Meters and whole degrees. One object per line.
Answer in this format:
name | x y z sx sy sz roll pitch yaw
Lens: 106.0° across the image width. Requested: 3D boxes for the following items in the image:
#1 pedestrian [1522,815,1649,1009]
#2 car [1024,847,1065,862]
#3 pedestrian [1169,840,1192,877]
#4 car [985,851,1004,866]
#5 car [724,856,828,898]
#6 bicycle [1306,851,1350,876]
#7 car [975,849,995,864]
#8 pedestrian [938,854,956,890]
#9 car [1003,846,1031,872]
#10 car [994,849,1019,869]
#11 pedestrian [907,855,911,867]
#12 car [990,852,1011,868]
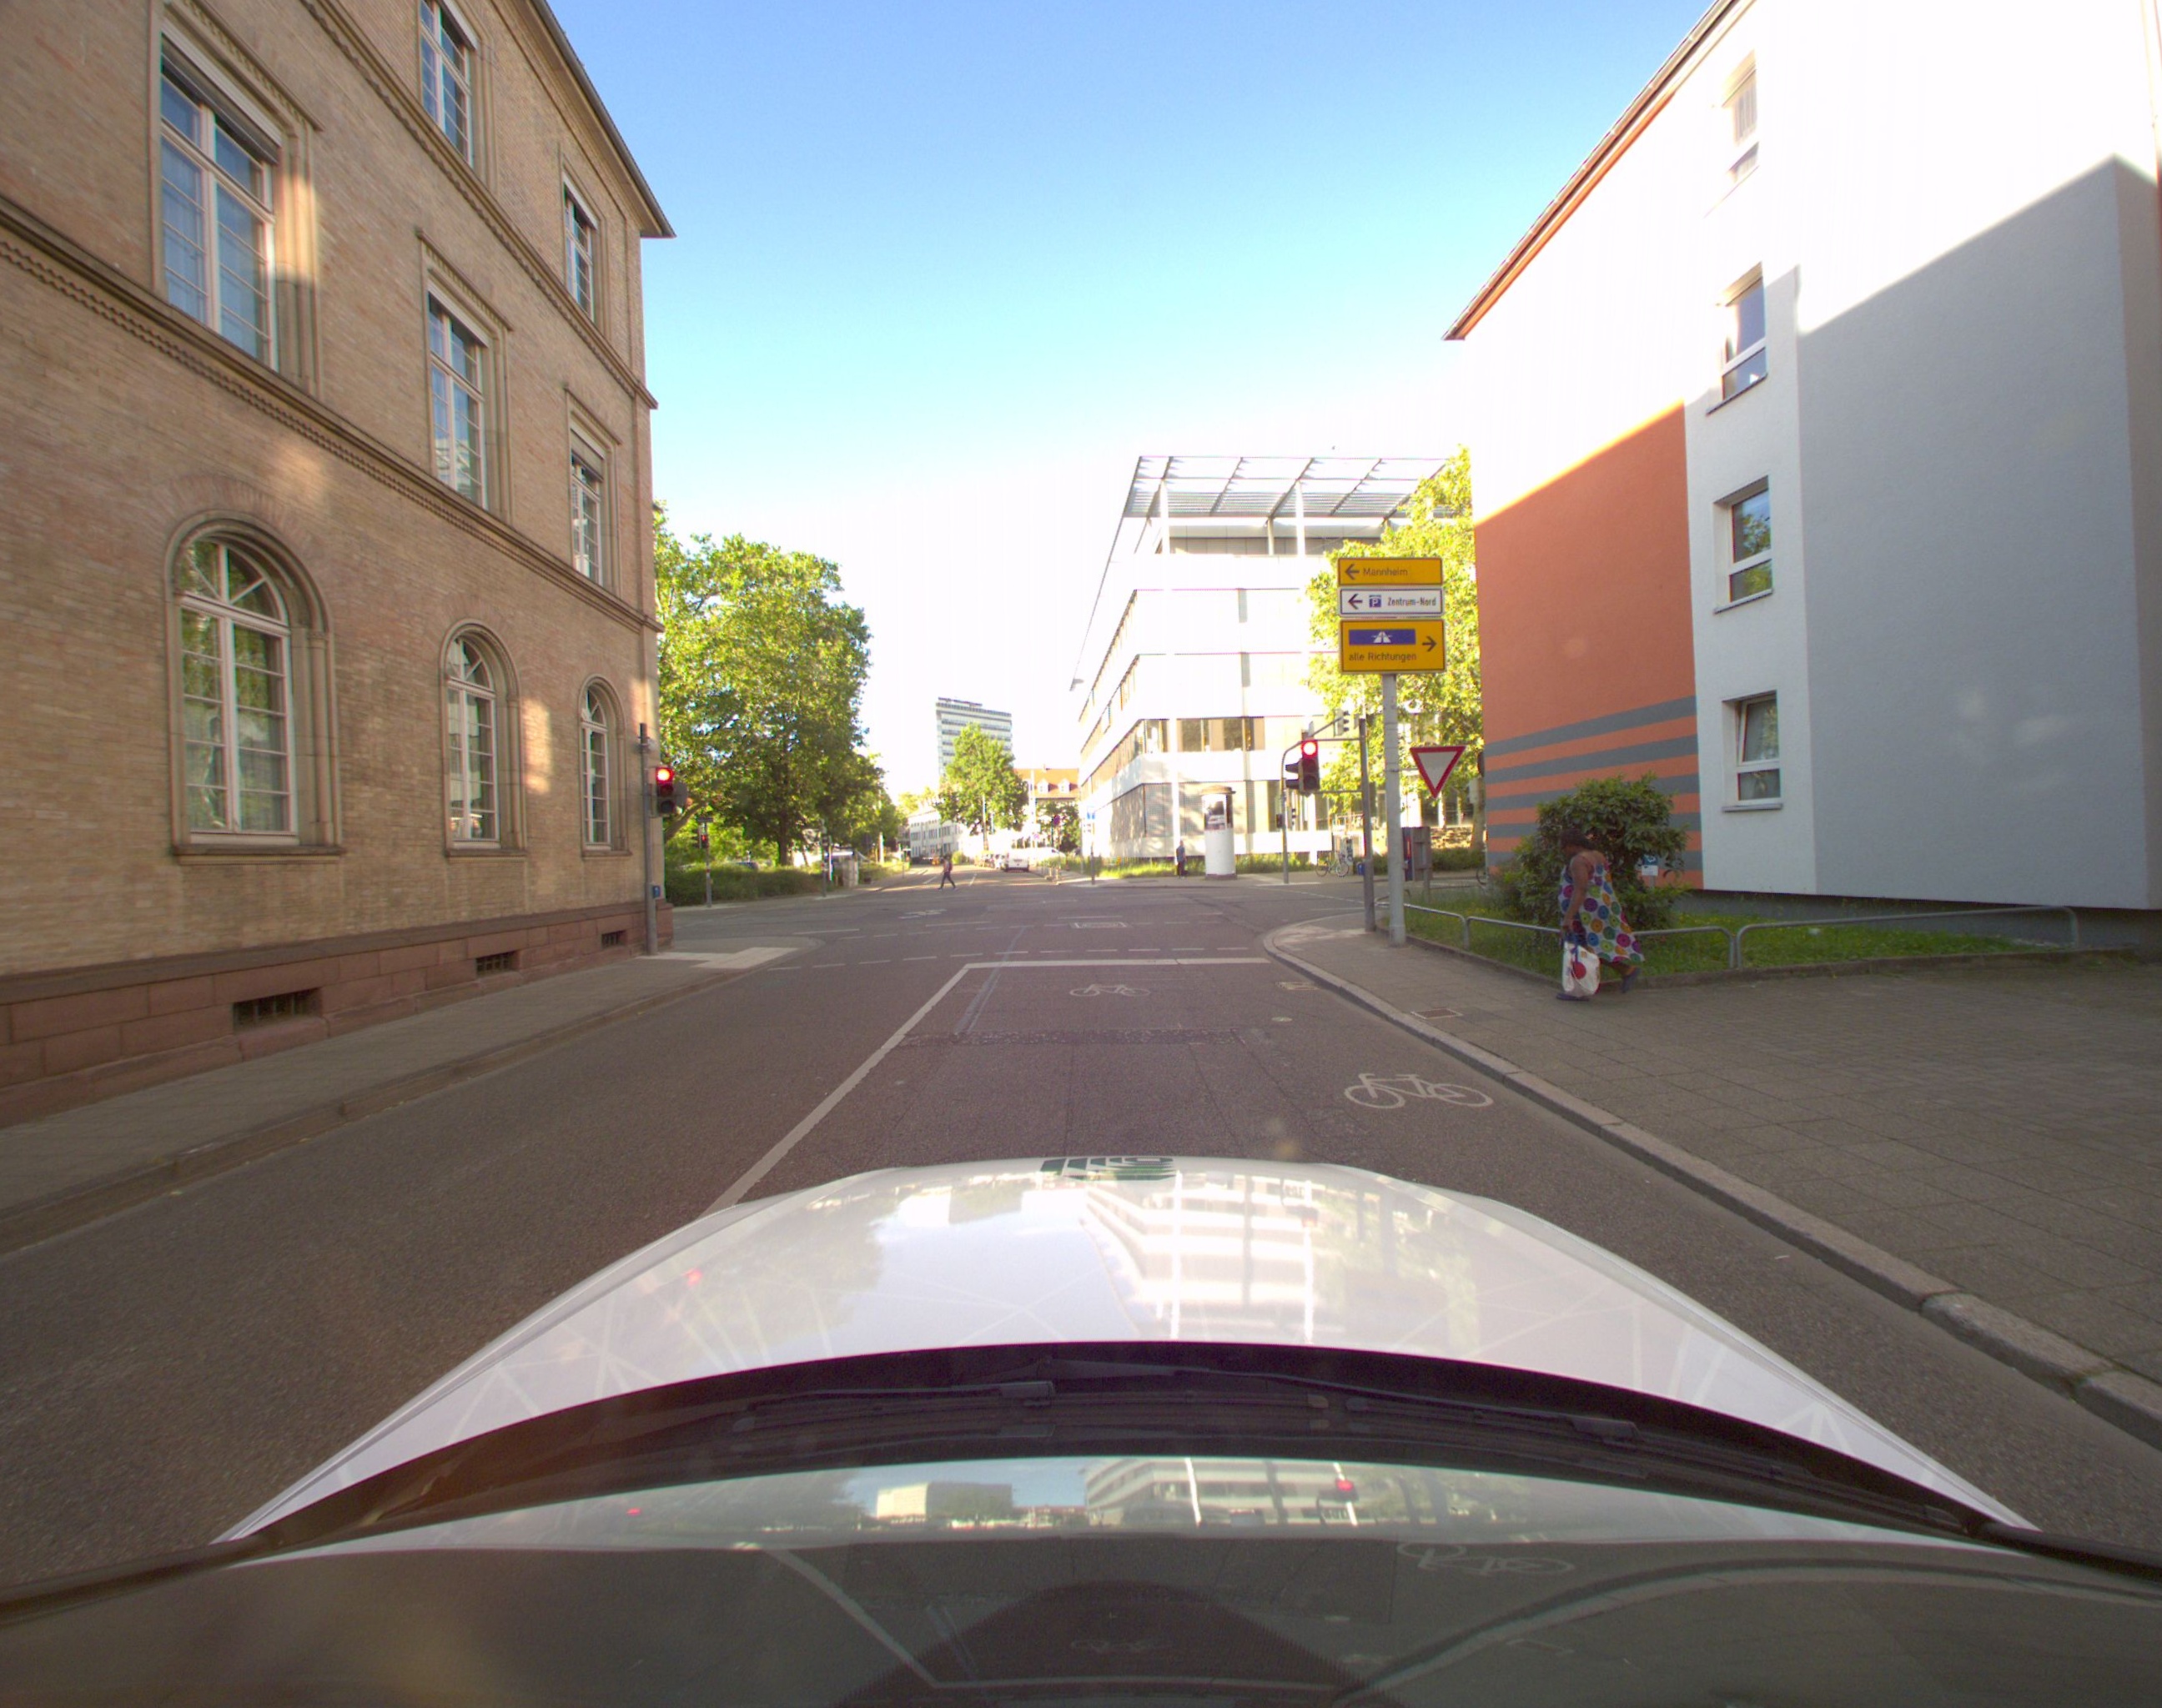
pedestrian | 4.499 0.482 7.242 0.741 1.573 0.963 -5 0 38
car | -4.582 0.056 103.164 4.889 1.872 1.990 -1 -1 -15
pedestrian | 4.755 0.223 38.867 0.658 1.736 0.802 -2 0 -43
car | -9.199 0.473 86.257 1.704 1.464 4.225 -2 0 -9
car | -14.399 1.061 38.652 4.219 1.777 1.901 -2 0 -7
bicycle | 10.903 0.430 36.010 0.467 1.049 1.893 -2 0 -40
car | -11.314 0.259 96.139 2.100 1.658 4.461 -2 0 -9
pedestrian | -6.042 0.792 36.726 0.711 1.599 0.615 -2 0 -9
car | -5.128 0.378 64.949 2.065 1.963 4.228 -2 0 -7
car | -7.096 0.464 76.920 1.947 1.795 4.223 -2 0 -11
pedestrian | -22.747 0.942 107.849 0.380 1.534 0.444 -2 0 -10
car | -8.097 0.597 81.708 1.705 1.424 4.221 -2 0 -11
